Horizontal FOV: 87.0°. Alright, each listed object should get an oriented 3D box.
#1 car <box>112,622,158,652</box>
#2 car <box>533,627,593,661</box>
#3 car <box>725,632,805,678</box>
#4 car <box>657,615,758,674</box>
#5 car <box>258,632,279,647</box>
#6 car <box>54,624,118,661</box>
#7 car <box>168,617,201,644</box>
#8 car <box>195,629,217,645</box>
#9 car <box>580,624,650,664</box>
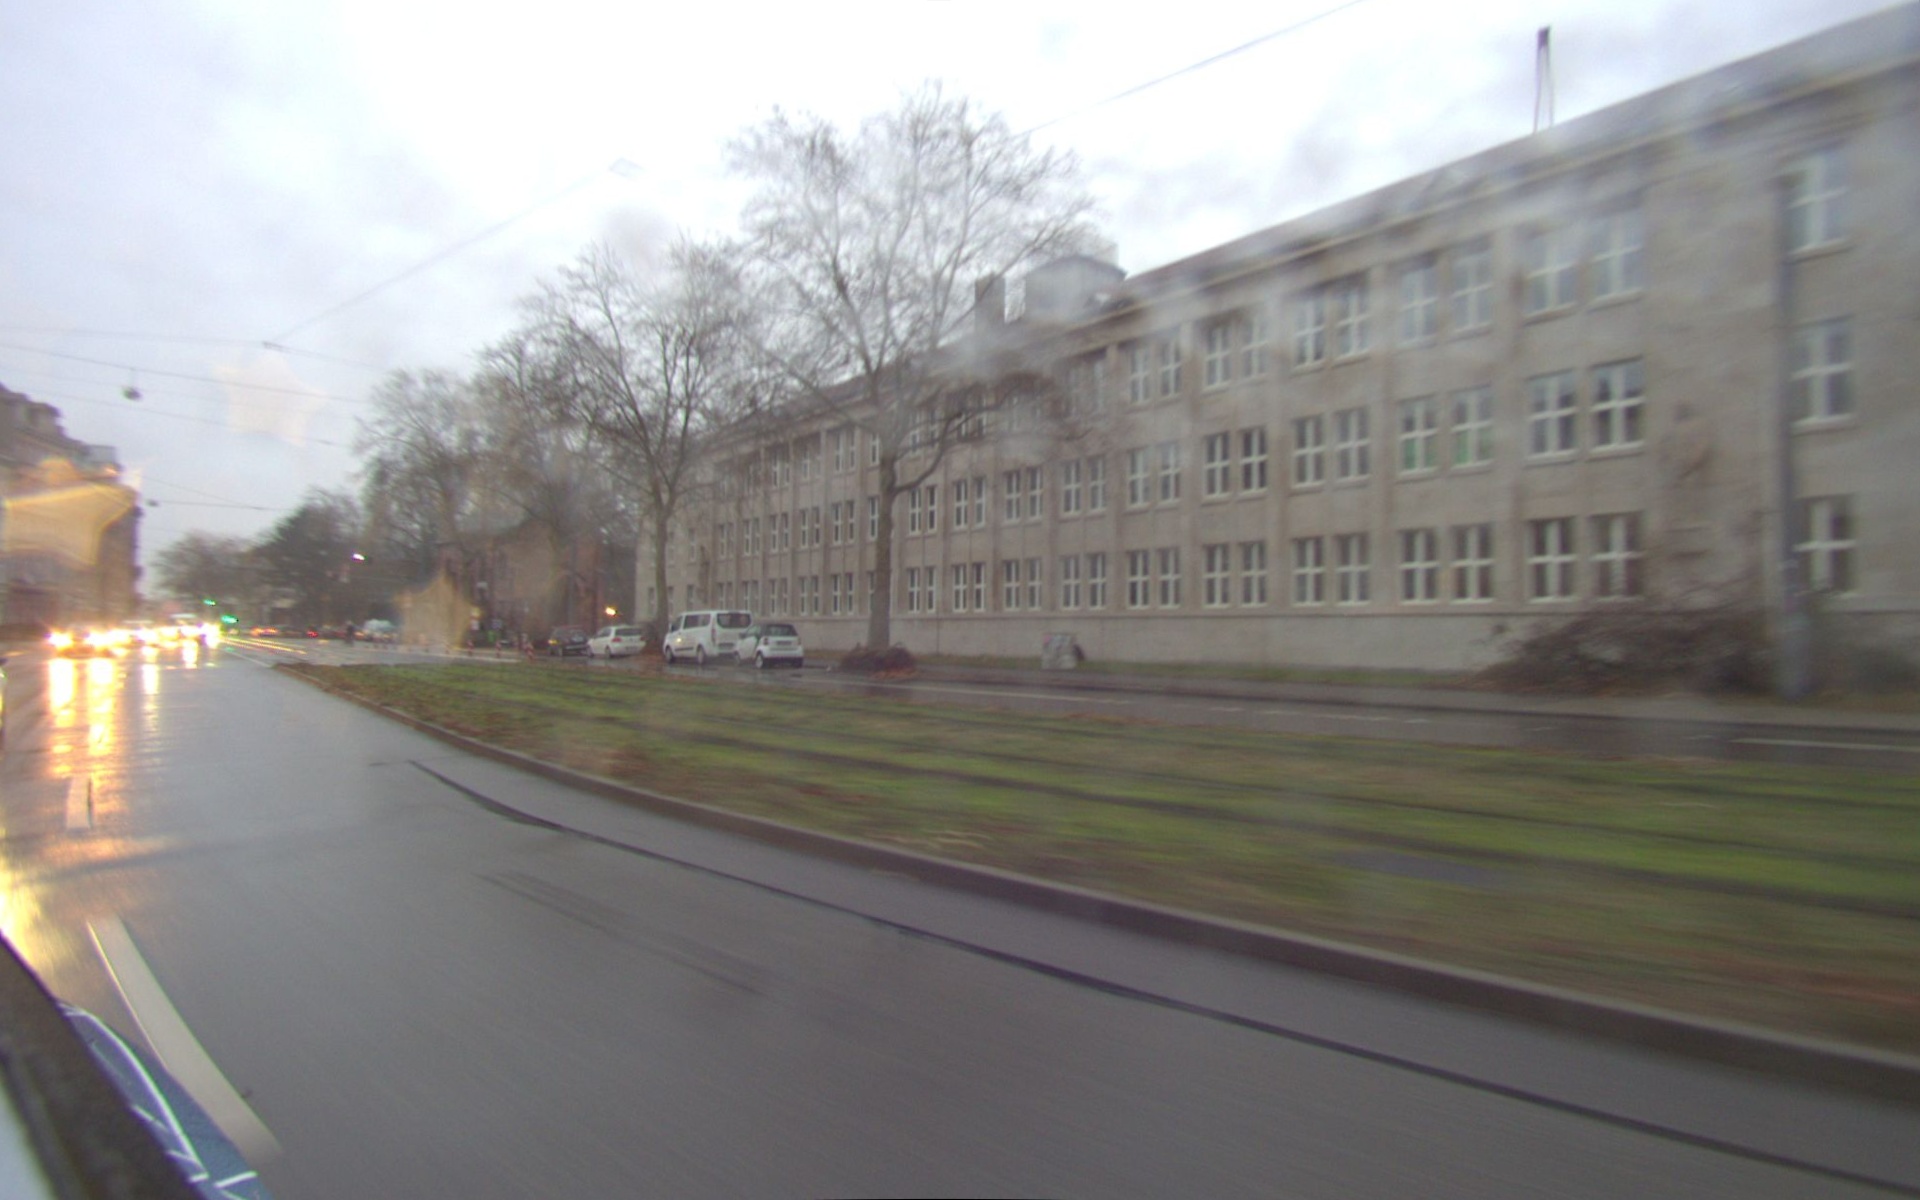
[{"bbox_3d":[-49.238,2.196,60.359,4.149,1.672,1.651,-1,0,44],"label":"car"},{"bbox_3d":[-20.193,2.225,51.400,1.592,1.673,3.614,3,-3,-43],"label":"car"},{"bbox_3d":[-6.799,1.881,35.105,1.536,1.439,2.961,2,-2,-38],"label":"car"},{"bbox_3d":[-9.686,1.629,38.568,1.968,2.029,4.517,0,0,-39],"label":"car"},{"bbox_3d":[-86.176,4.954,126.183,1.920,1.829,4.011,2,-2,-31],"label":"car"},{"bbox_3d":[-35.568,1.728,41.258,1.564,1.437,3.142,2,-3,-34],"label":"car"},{"bbox_3d":[-70.322,2.738,91.805,2.095,2.398,5.652,0,-1,-35],"label":"car"},{"bbox_3d":[-86.833,4.266,116.622,1.622,1.763,3.565,2,-3,-31],"label":"car"},{"bbox_3d":[-15.917,1.969,46.603,1.798,1.667,3.866,0,0,-39],"label":"car"}]
